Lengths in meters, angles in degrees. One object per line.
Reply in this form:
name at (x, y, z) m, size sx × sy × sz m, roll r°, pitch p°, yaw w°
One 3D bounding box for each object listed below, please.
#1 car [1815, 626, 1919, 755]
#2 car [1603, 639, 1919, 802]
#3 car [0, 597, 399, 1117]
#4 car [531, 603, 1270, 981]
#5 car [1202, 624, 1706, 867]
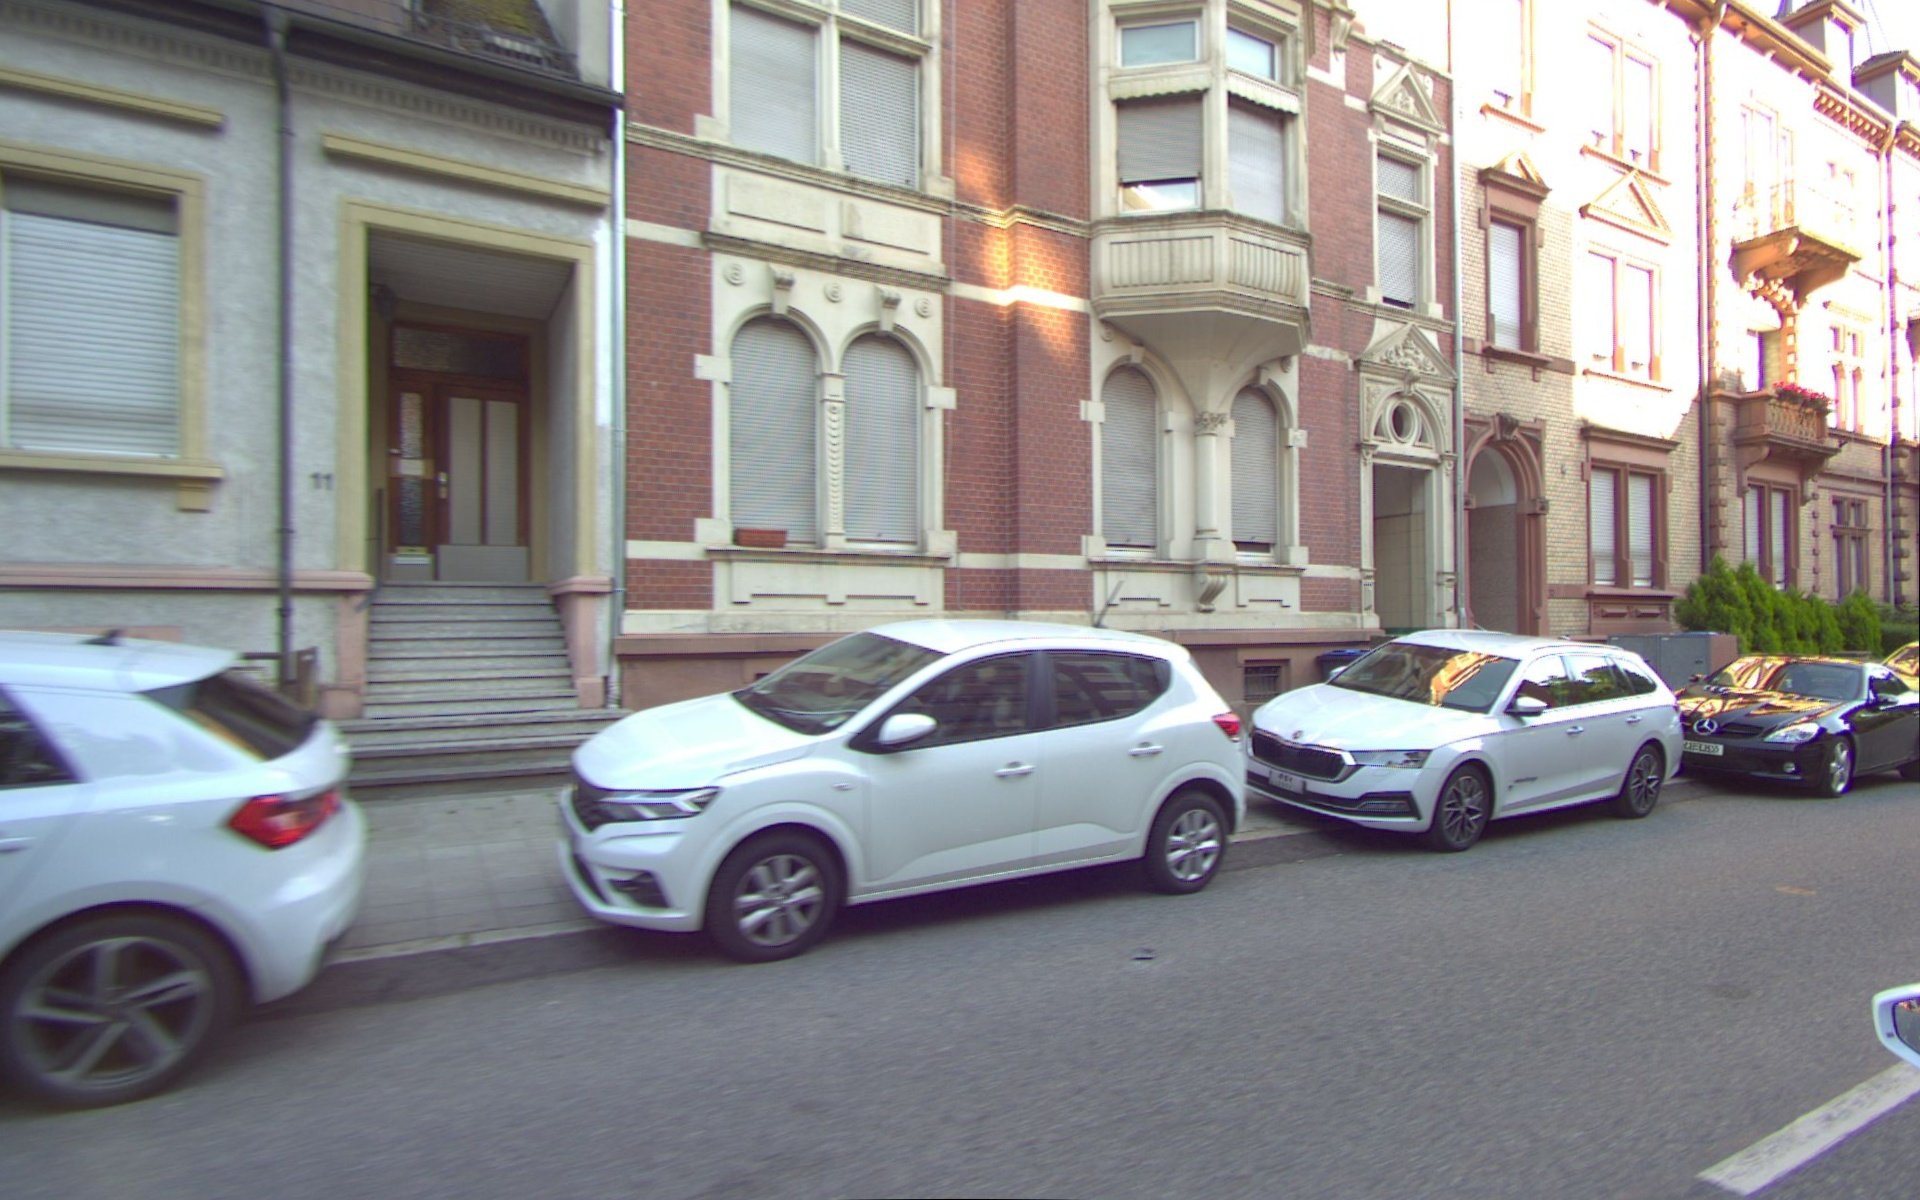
car at (13.137, 1.182, 13.221) m, size 4.027 × 1.522 × 1.693 m, roll 3°, pitch -1°, yaw -32°
car at (8.744, 1.150, 10.718) m, size 3.816 × 1.385 × 1.693 m, roll 1°, pitch 0°, yaw -32°
car at (-3.992, 0.743, 3.217) m, size 3.780 × 1.523 × 1.693 m, roll 1°, pitch 0°, yaw -32°
car at (-0.231, 0.814, 5.846) m, size 3.975 × 1.523 × 1.693 m, roll 1°, pitch 0°, yaw -32°
car at (4.291, 1.012, 8.497) m, size 4.498 × 1.557 × 1.693 m, roll 1°, pitch 0°, yaw -32°
